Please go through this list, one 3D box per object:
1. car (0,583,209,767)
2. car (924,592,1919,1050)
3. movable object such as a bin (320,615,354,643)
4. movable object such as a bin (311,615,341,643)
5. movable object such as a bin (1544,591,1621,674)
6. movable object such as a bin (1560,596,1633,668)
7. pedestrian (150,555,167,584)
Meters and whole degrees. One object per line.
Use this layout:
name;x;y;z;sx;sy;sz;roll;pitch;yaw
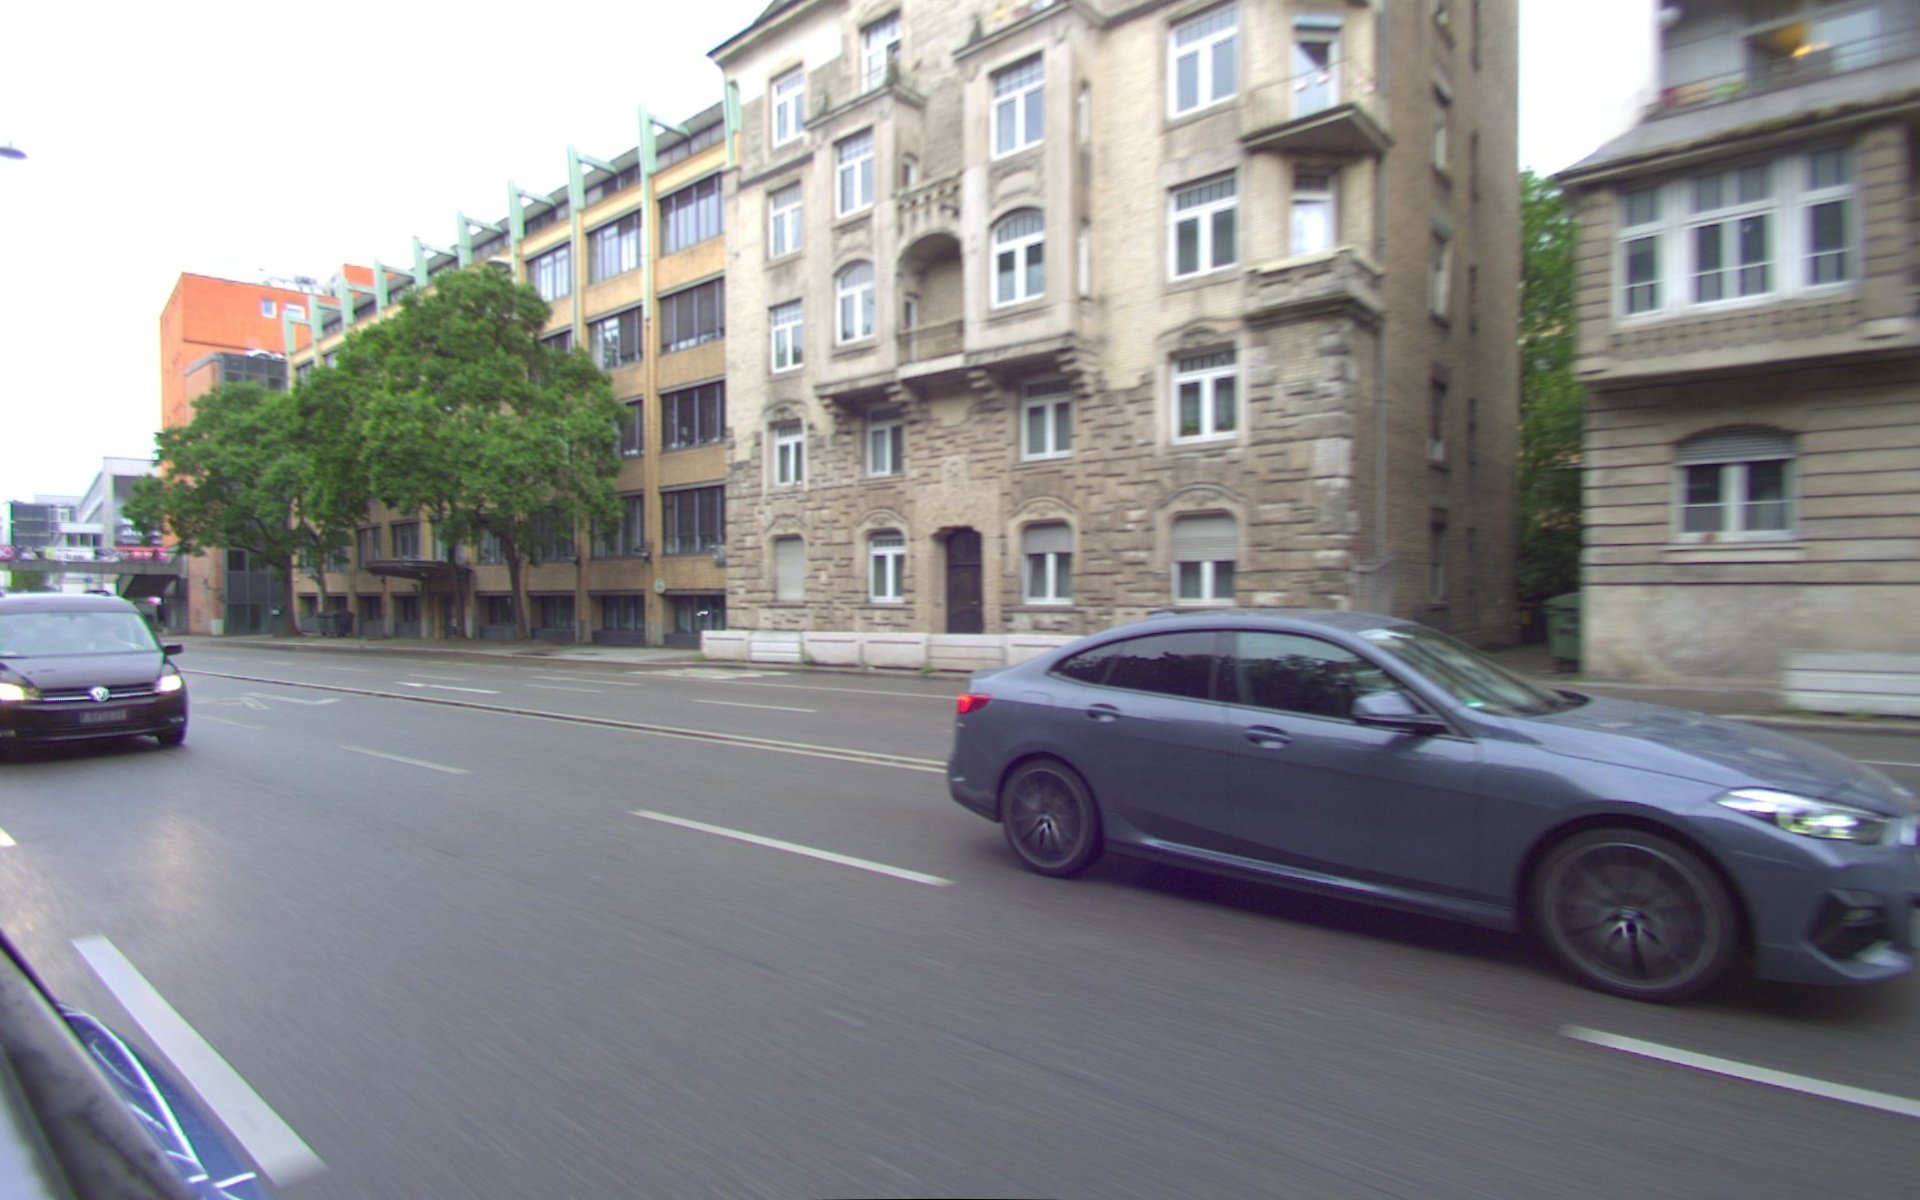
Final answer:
car;-10.474;0.788;11.759;3.994;1.805;1.820;-2;-2;38
car;2.048;0.716;5.036;4.536;1.426;1.648;-1;-1;41
movable object such as a bin;-33.719;1.565;54.753;1.369;1.447;1.059;-2;1;35
movable object such as a bin;-34.804;1.603;55.560;1.311;1.447;0.964;-2;1;35
movable object such as a bin;11.455;0.595;18.622;1.021;1.445;1.015;-5;-3;39
movable object such as a bin;12.438;0.627;19.773;1.021;1.342;1.015;-5;-3;39
pedestrian;-62.485;-2.365;78.876;0.737;2.272;0.823;-1;-1;34
